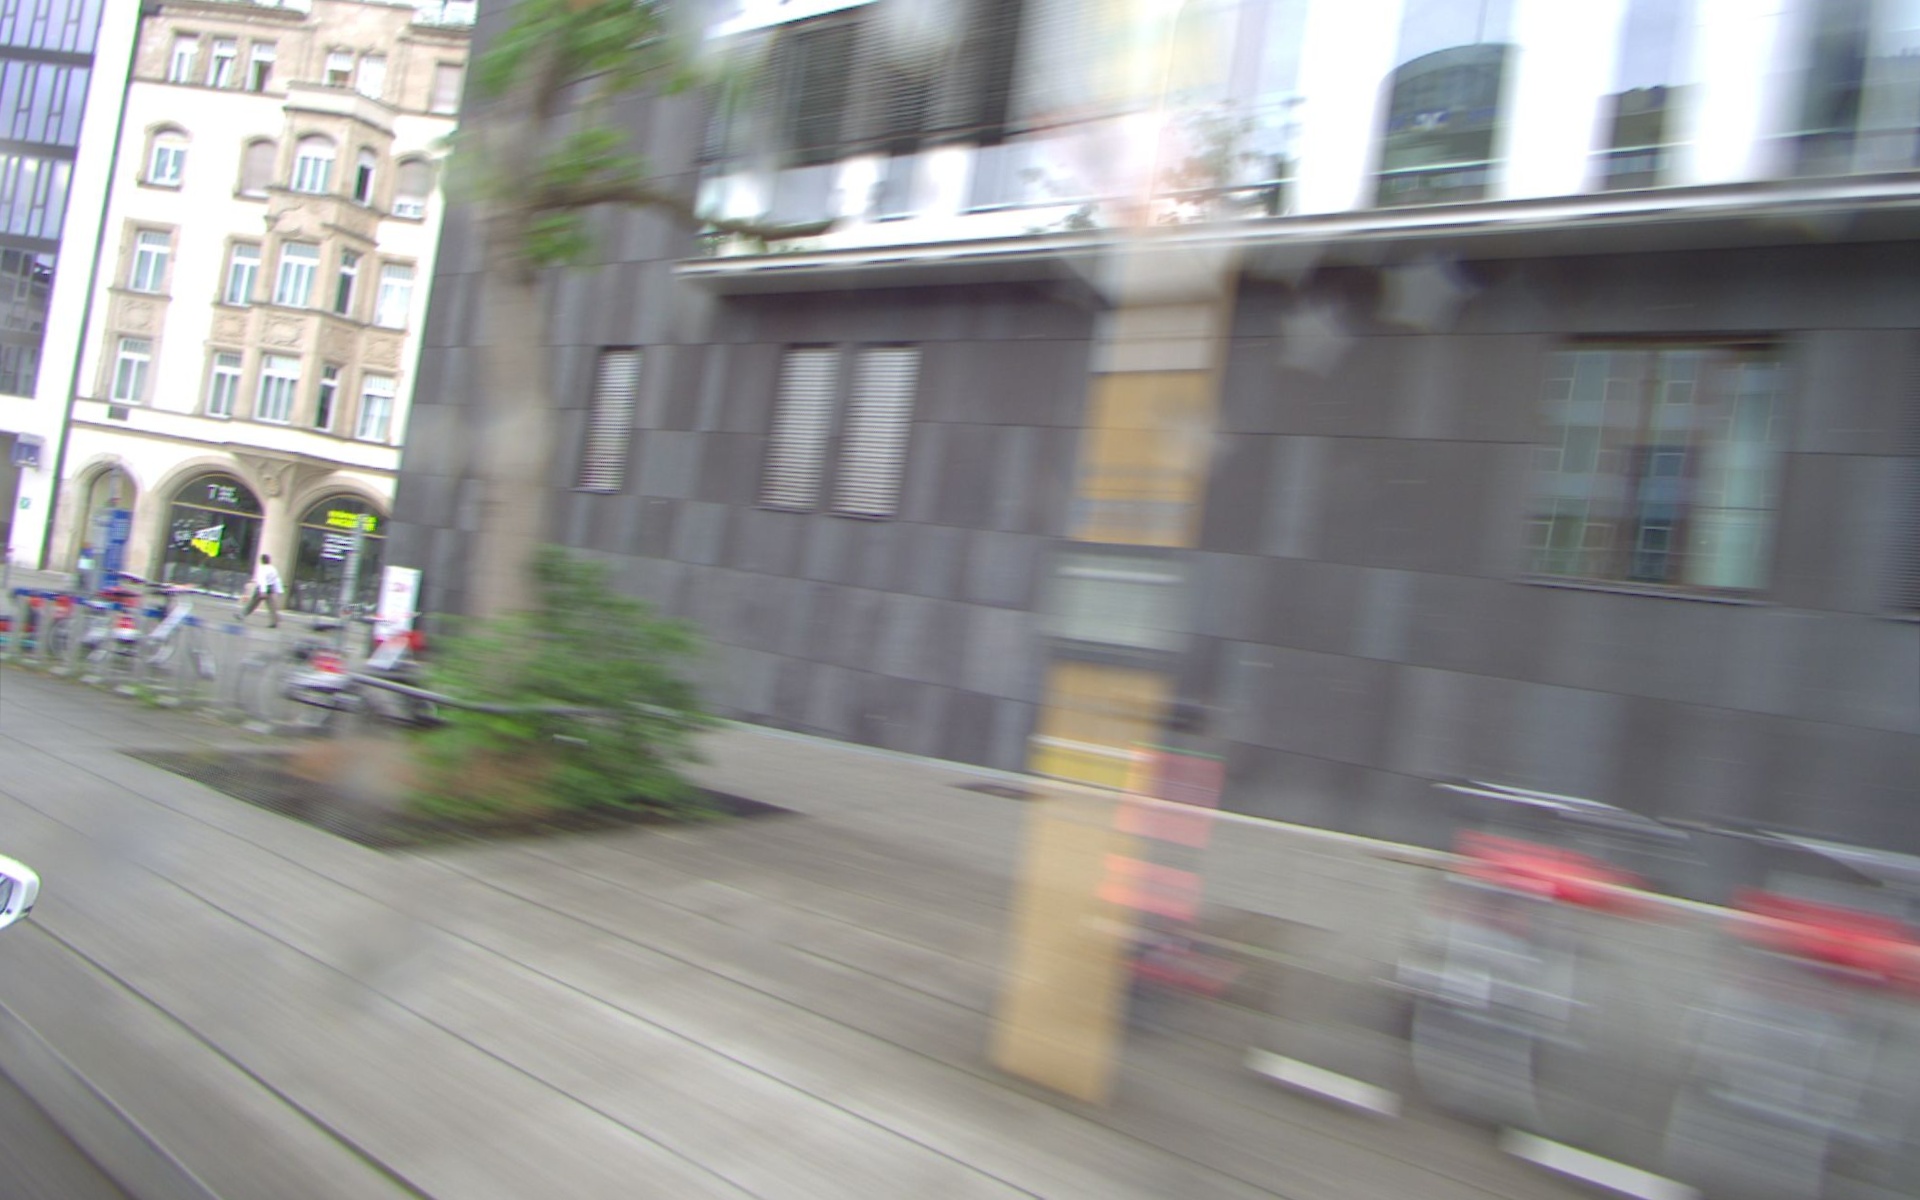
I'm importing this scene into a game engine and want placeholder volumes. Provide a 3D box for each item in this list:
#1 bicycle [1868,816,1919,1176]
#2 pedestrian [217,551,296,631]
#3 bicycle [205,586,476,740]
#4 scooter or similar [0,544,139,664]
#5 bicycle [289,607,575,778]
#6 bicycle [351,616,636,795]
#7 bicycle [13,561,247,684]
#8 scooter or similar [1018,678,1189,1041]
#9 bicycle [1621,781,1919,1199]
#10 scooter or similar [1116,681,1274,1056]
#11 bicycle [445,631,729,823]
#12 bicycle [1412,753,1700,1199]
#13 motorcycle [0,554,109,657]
[{"bbox_3d":[3.399,1.319,2.881,0.677,1.152,1.540,6,-3,25],"label":"bicycle"},{"bbox_3d":[-18.480,-0.229,26.440,1.226,1.856,0.876,7,-4,17],"label":"pedestrian"},{"bbox_3d":[-5.250,0.592,8.682,0.658,1.119,1.802,6,-5,25],"label":"bicycle"},{"bbox_3d":[-11.013,0.029,11.897,0.585,1.256,1.800,6,-5,26],"label":"scooter or similar"},{"bbox_3d":[-3.860,0.732,7.550,0.546,1.079,1.802,6,-5,26],"label":"bicycle"},{"bbox_3d":[-3.263,0.787,7.256,0.546,1.079,1.802,6,-5,26],"label":"bicycle"},{"bbox_3d":[-9.261,0.291,11.324,0.658,1.119,1.802,6,-5,25],"label":"bicycle"},{"bbox_3d":[0.635,0.997,4.182,0.297,1.271,1.064,6,-3,24],"label":"scooter or similar"},{"bbox_3d":[2.714,1.249,3.222,0.677,1.152,1.540,6,-3,25],"label":"bicycle"},{"bbox_3d":[0.991,1.001,4.083,0.297,1.271,1.110,6,-3,24],"label":"scooter or similar"},{"bbox_3d":[-2.434,0.872,6.829,0.546,1.079,1.802,6,-5,26],"label":"bicycle"},{"bbox_3d":[2.077,1.207,3.702,0.651,1.152,1.540,6,-3,25],"label":"bicycle"},{"bbox_3d":[-11.857,0.020,12.459,0.585,1.151,1.800,6,-5,26],"label":"motorcycle"}]
